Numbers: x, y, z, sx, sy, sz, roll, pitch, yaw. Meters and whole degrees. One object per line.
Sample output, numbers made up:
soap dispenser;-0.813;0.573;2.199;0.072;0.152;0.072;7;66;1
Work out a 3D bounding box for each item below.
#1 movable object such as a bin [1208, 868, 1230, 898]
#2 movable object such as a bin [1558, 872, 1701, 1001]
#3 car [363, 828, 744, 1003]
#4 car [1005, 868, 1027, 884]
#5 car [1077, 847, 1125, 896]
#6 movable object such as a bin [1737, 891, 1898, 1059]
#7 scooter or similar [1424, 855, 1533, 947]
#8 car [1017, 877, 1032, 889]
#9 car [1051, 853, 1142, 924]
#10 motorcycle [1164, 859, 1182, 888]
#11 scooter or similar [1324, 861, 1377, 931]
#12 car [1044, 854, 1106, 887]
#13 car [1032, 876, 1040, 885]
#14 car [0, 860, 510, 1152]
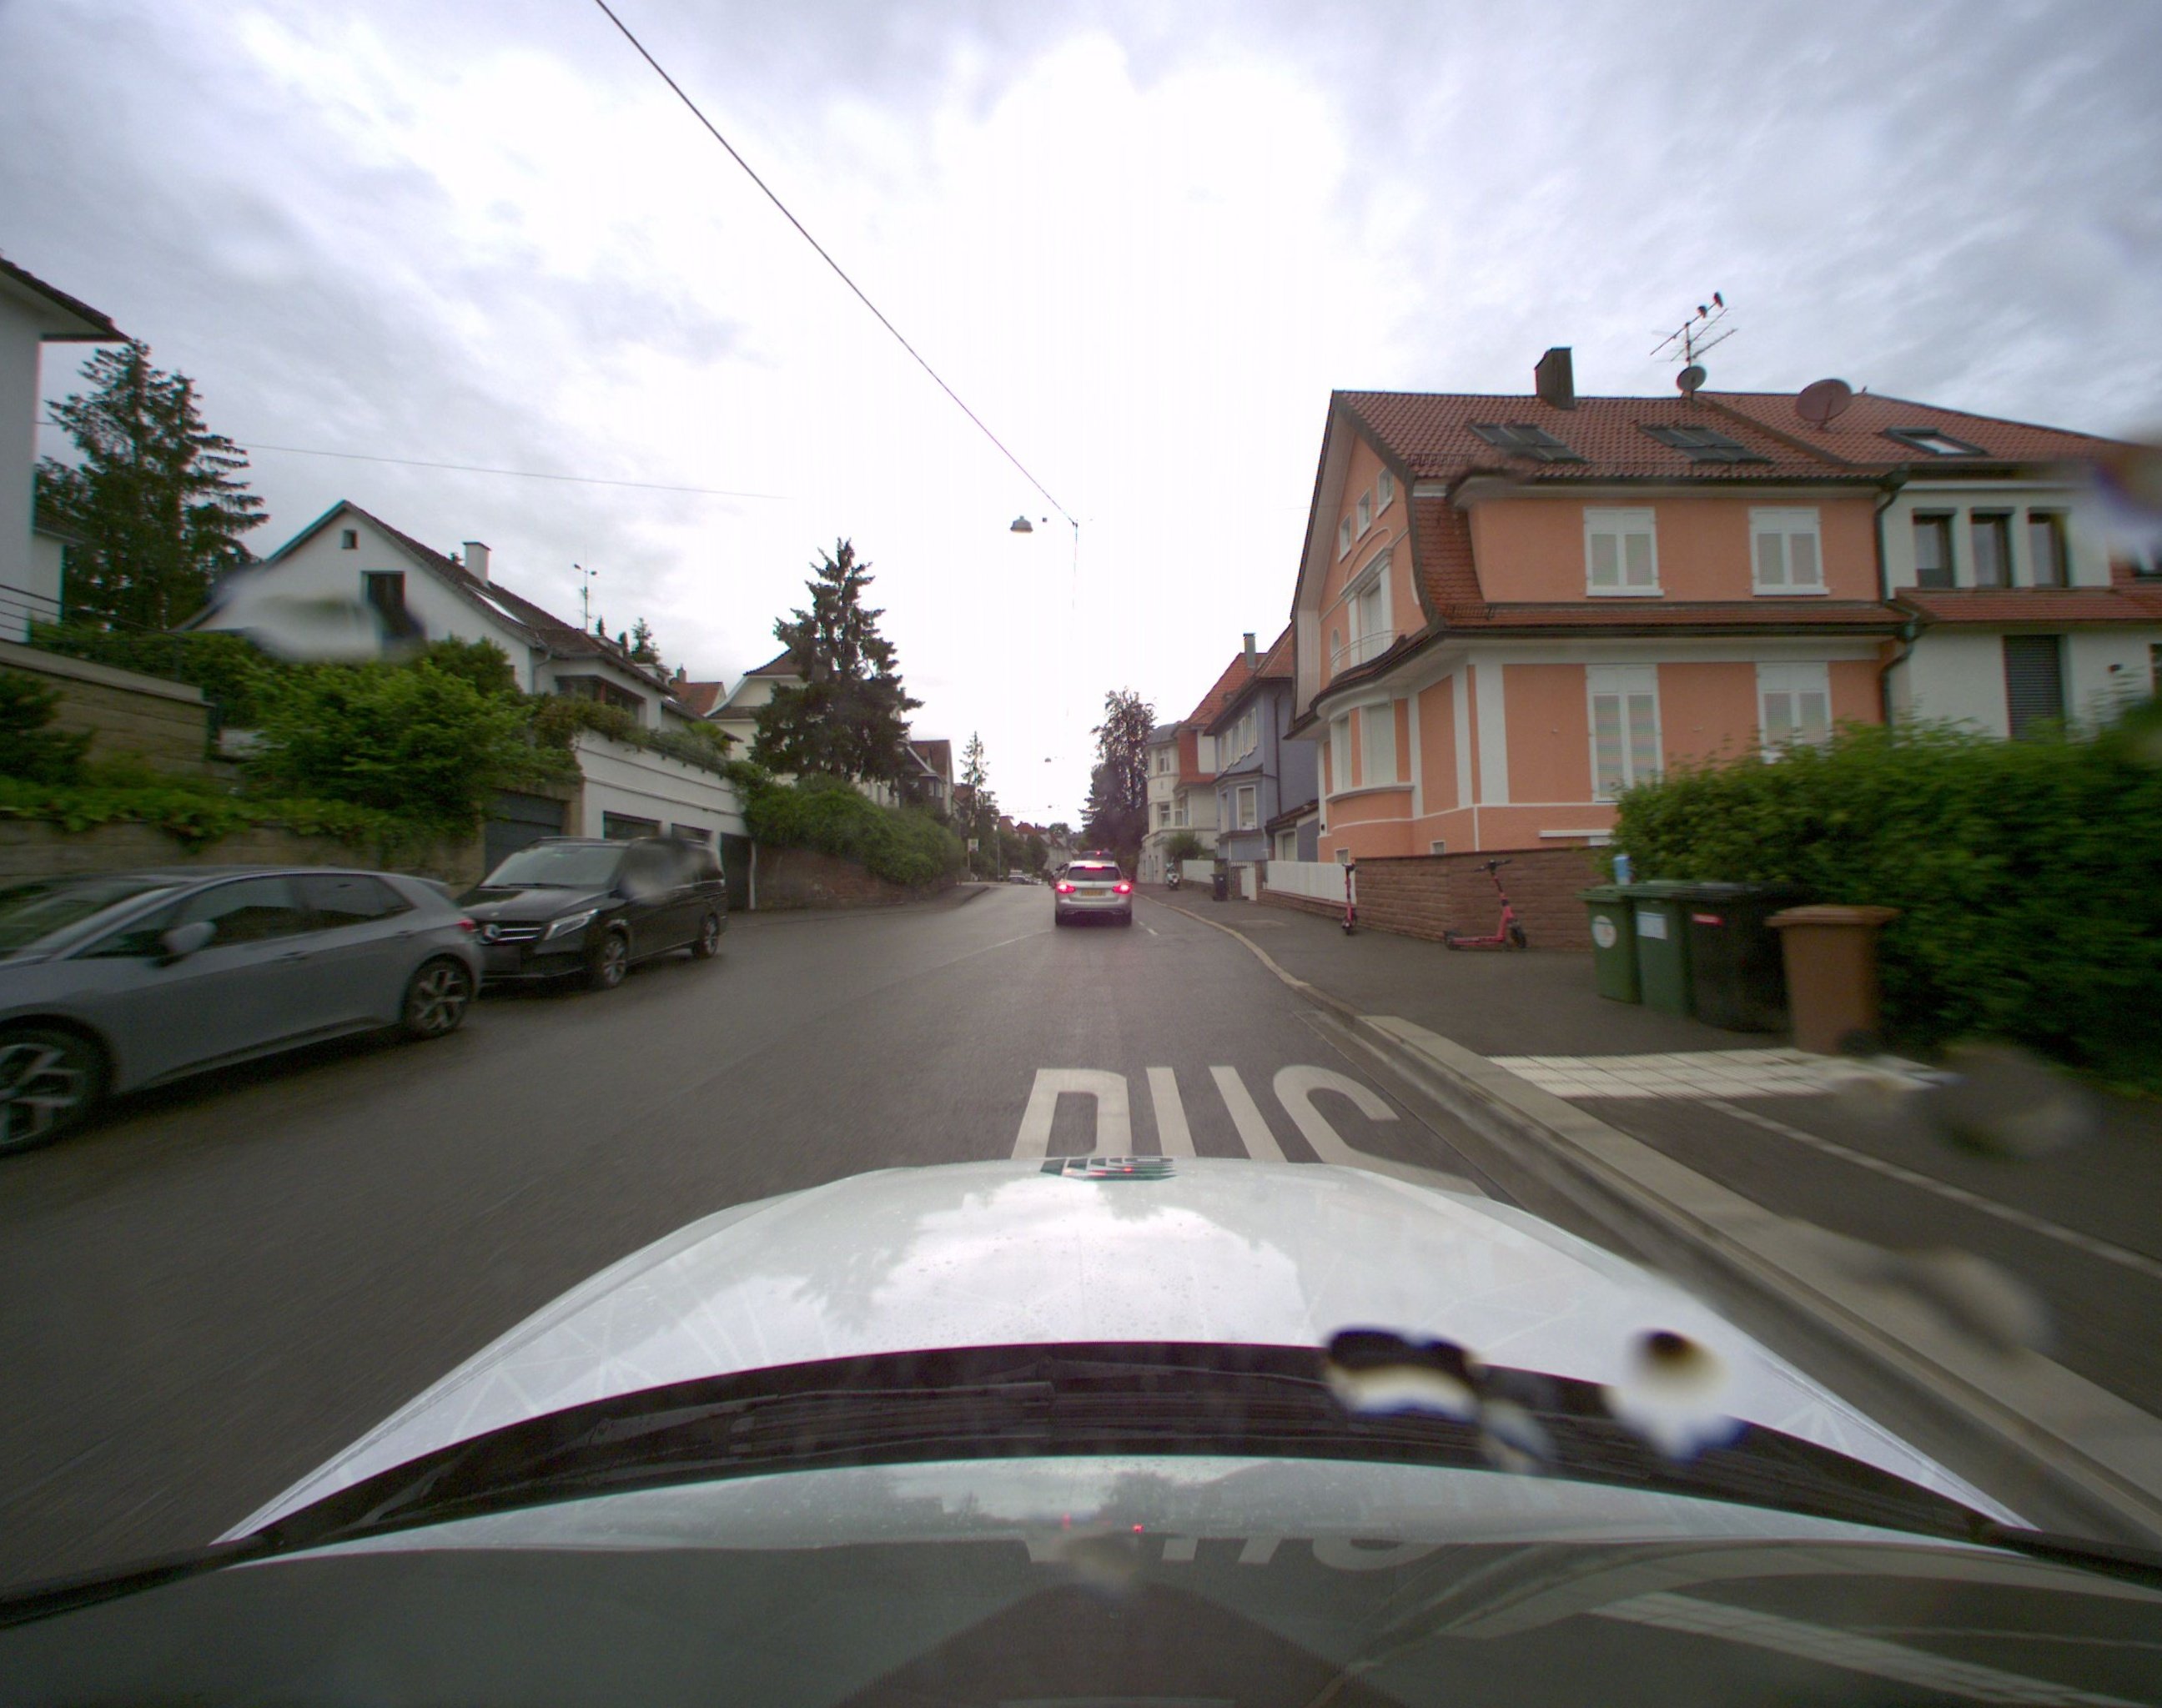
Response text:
movable object such as a bin;4.582;0.963;26.995;0.547;0.936;0.633;-4;0;-1
movable object such as a bin;4.840;0.699;7.234;0.710;1.030;0.756;-3;0;-3
car;-6.819;0.665;11.564;2.125;1.860;5.584;0;0;-5
car;-6.735;2.270;85.116;2.112;1.471;4.013;-1;0;-2
car;0.853;0.703;34.621;1.817;1.882;4.096;-2;0;1
movable object such as a bin;4.787;0.742;5.307;0.573;0.969;0.663;0;0;-34
scooter or similar;5.590;0.662;11.469;1.245;1.224;0.699;-4;-2;31
car;-6.931;3.580;99.678;1.753;1.314;3.680;0;0;-2
car;0.356;0.760;19.974;1.976;1.554;4.297;0;0;0
motorcycle;4.124;0.861;36.702;0.579;1.261;2.332;-3;0;2
scooter or similar;5.014;0.759;15.215;0.689;1.224;1.302;-1;0;7
car;-0.367;0.806;41.501;1.999;1.539;4.307;0;0;-18
car;-7.784;4.564;141.111;1.425;1.314;3.403;-2;0;-2
car;-6.619;0.816;5.859;1.891;1.515;4.343;0;0;1
